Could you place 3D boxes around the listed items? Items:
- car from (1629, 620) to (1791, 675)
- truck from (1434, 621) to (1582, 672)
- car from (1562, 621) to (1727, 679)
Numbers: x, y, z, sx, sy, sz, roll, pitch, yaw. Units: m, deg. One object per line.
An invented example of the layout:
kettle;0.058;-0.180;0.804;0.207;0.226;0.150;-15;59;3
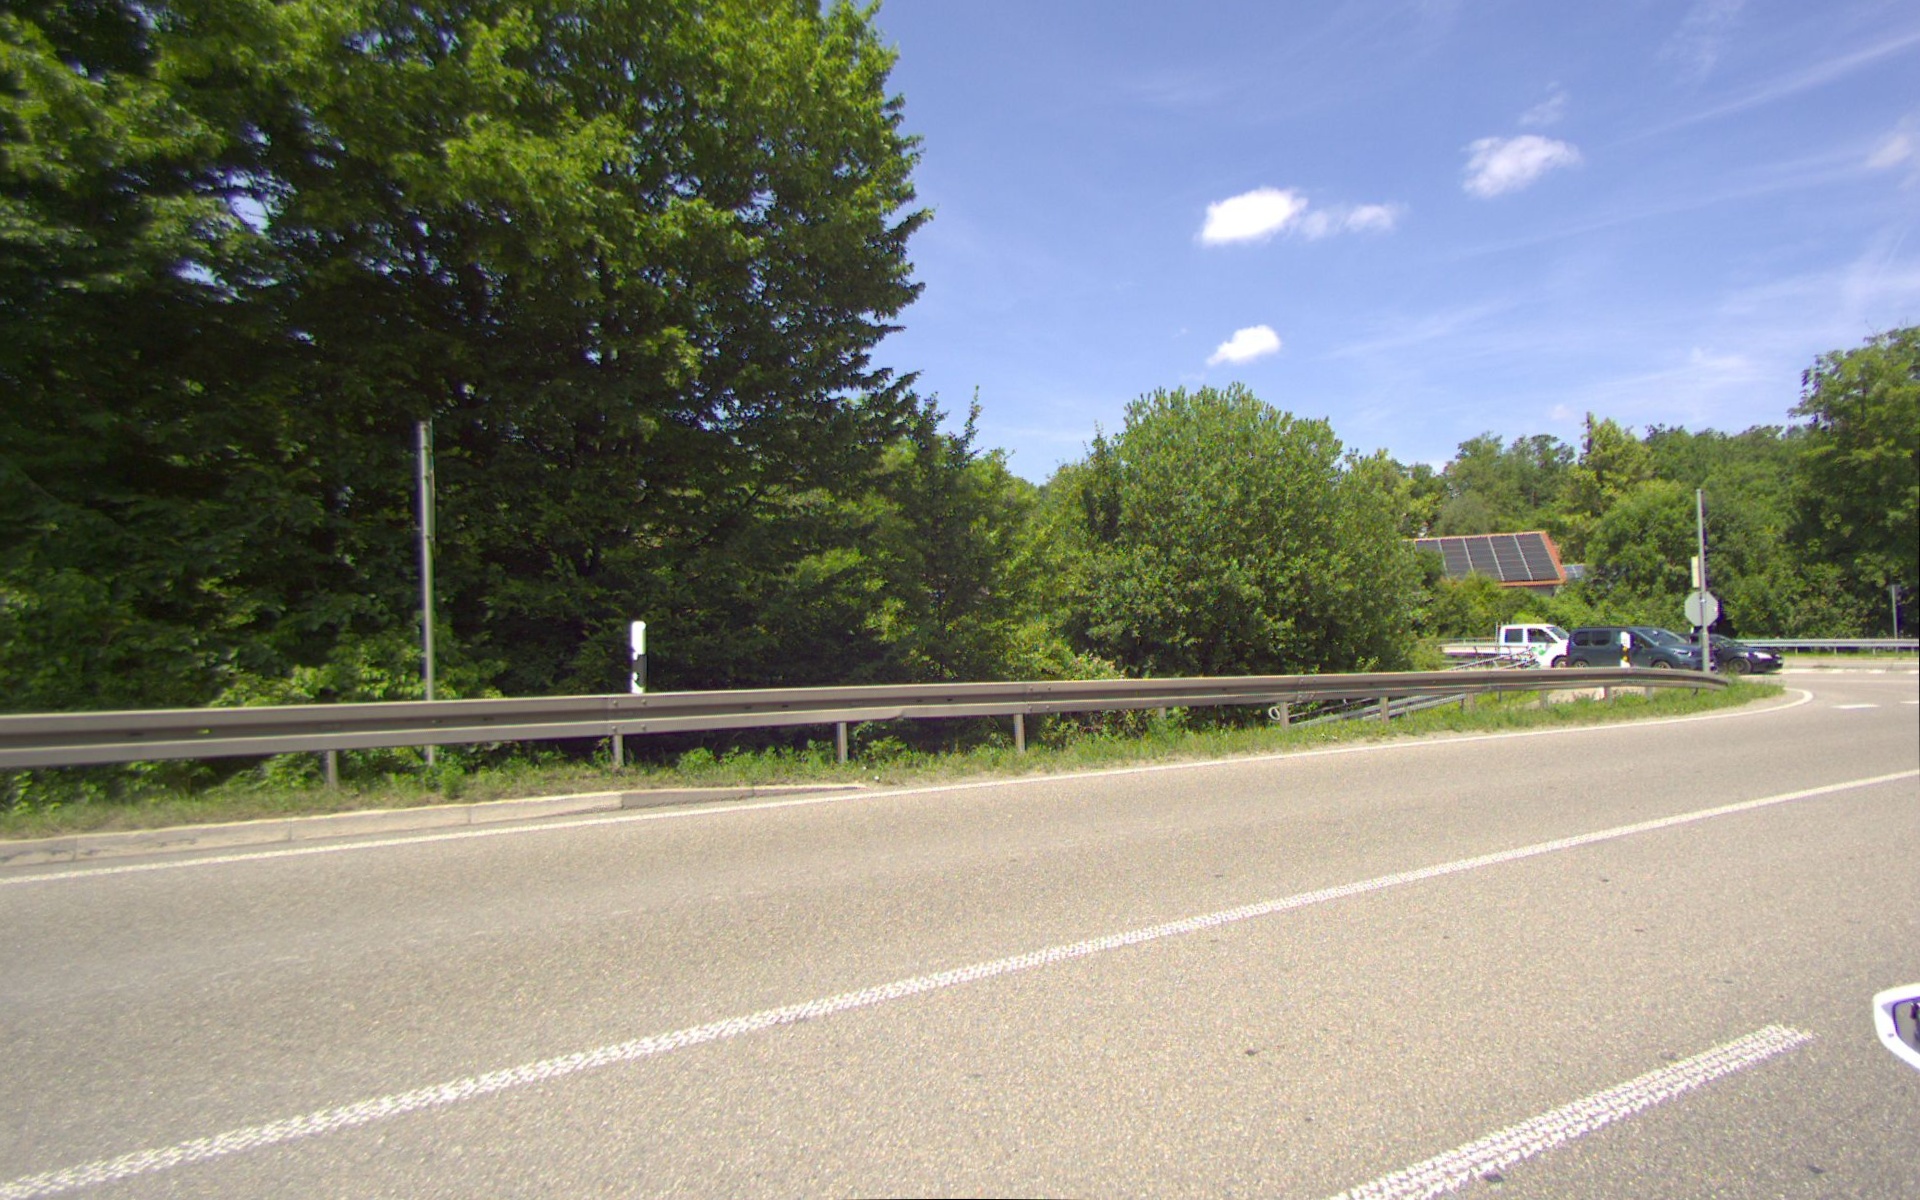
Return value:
car;26.332;1.640;35.458;1.969;1.793;4.229;1;-1;-19
truck;22.221;1.860;40.882;2.028;1.815;4.832;3;-1;-41
car;22.725;1.622;33.546;1.969;1.793;4.229;1;-1;-19
